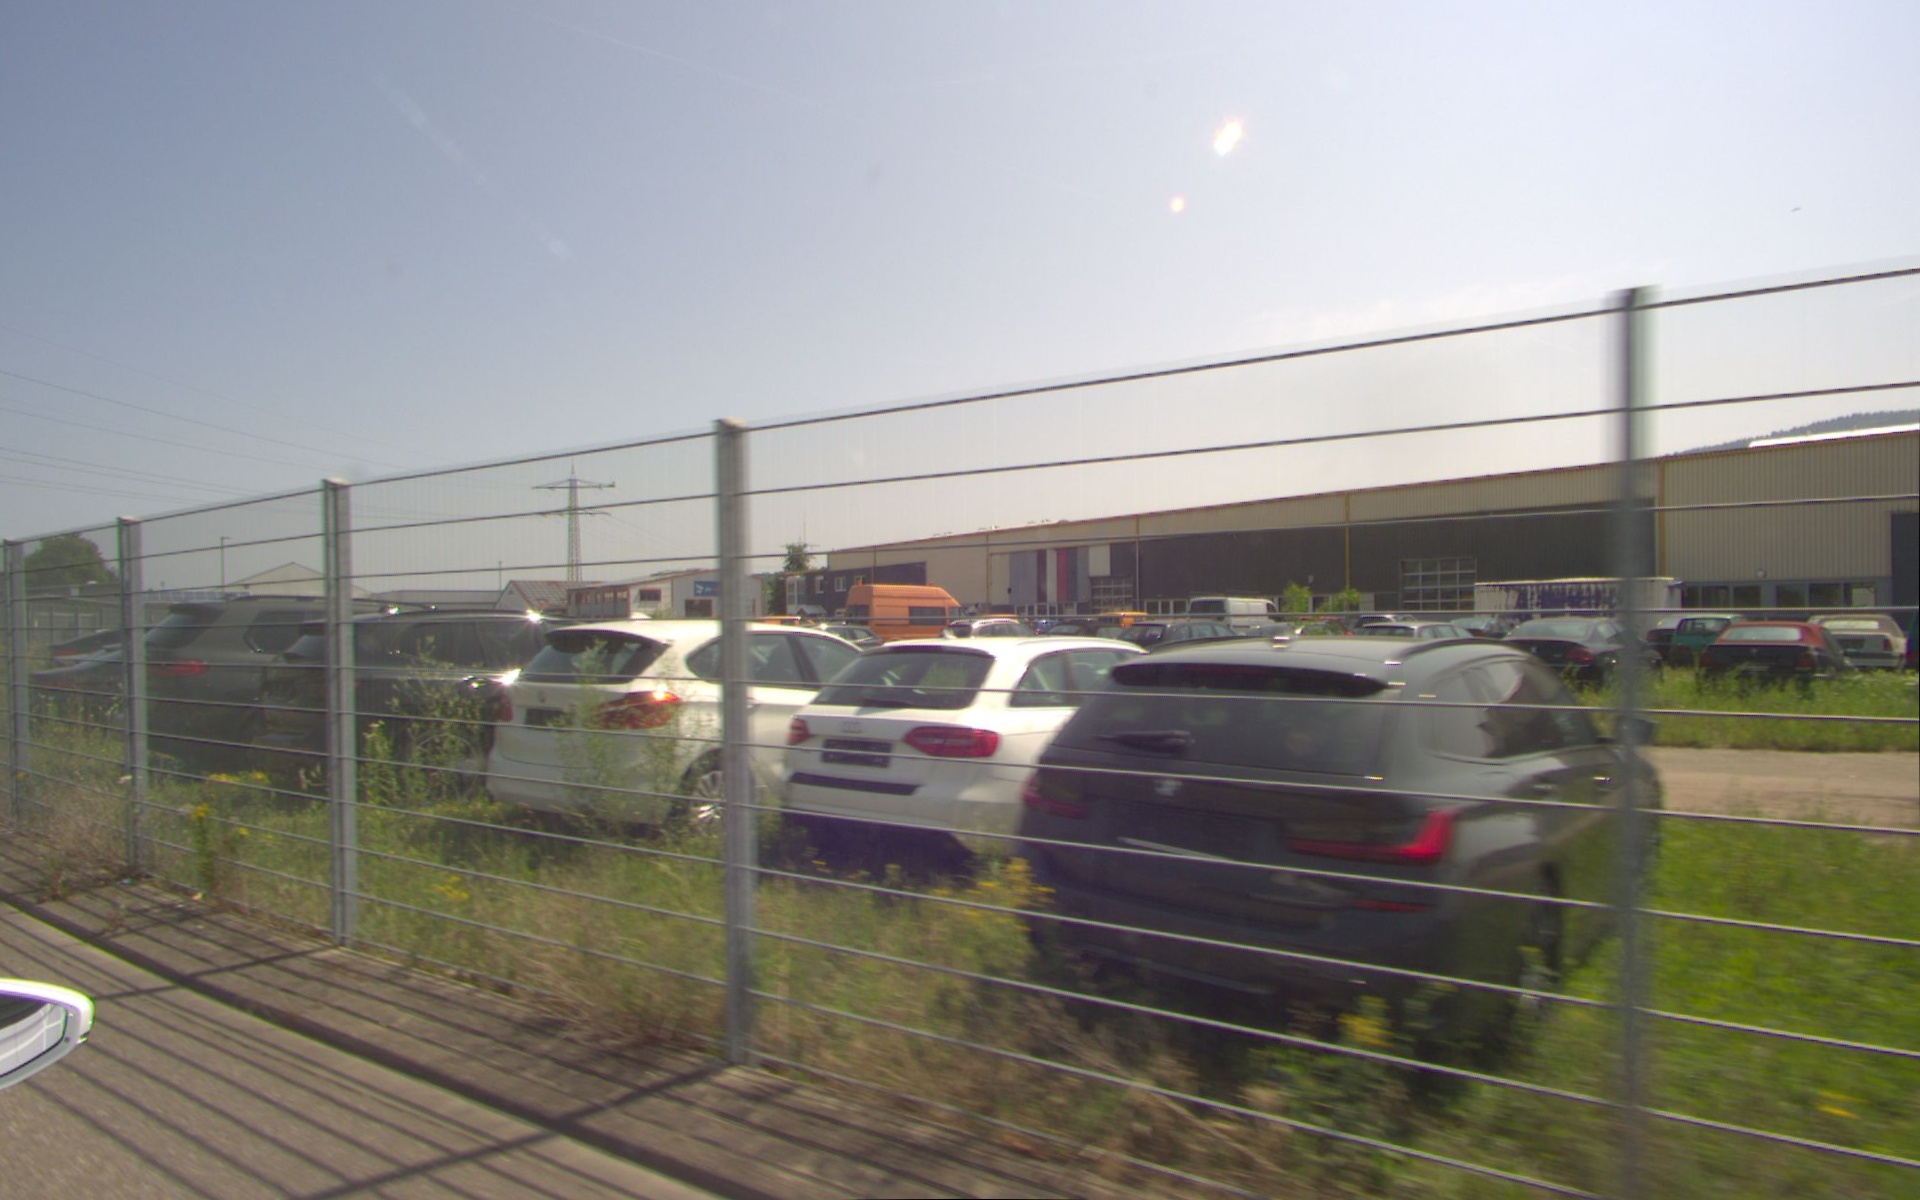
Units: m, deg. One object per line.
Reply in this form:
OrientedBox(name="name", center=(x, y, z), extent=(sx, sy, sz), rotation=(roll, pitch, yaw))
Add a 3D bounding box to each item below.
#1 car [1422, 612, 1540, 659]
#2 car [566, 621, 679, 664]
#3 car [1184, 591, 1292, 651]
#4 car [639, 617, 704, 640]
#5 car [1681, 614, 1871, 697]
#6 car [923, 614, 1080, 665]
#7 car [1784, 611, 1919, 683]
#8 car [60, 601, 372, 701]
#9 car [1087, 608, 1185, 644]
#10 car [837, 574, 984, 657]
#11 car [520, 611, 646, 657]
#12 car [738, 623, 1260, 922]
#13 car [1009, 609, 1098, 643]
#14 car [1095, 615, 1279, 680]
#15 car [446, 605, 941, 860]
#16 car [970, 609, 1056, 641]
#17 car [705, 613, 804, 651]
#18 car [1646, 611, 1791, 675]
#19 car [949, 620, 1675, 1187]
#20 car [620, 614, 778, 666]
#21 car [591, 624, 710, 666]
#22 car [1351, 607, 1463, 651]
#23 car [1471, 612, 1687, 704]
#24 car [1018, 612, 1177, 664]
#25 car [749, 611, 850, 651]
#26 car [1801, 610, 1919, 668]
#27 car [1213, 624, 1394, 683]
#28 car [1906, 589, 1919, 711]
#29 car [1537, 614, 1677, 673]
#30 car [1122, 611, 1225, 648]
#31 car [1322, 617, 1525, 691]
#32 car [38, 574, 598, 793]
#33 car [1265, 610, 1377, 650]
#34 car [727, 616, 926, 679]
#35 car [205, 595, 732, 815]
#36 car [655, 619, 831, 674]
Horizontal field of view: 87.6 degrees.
OrientedBox(name="car", center=(17.222, 1.118, 33.023), extent=(4.337, 1.396, 1.828), rotation=(-1, 0, -38))
OrientedBox(name="car", center=(-12.630, 1.544, 37.576), extent=(3.728, 1.456, 1.599), rotation=(-1, 0, -38))
OrientedBox(name="car", center=(10.835, 0.783, 38.934), extent=(4.341, 2.200, 1.957), rotation=(-1, 0, -40))
OrientedBox(name="car", center=(-24.434, 2.401, 84.850), extent=(5.014, 1.924, 1.844), rotation=(1, -1, -37))
OrientedBox(name="car", center=(13.062, 0.816, 15.985), extent=(3.335, 1.123, 1.659), rotation=(-1, 0, -38))
OrientedBox(name="car", center=(1.227, 1.066, 28.559), extent=(4.337, 1.286, 1.807), rotation=(0, 0, -38))
OrientedBox(name="car", center=(20.192, 0.981, 22.403), extent=(4.337, 1.396, 1.828), rotation=(-1, 0, -38))
OrientedBox(name="car", center=(-13.561, 0.844, 18.518), extent=(4.431, 1.603, 1.781), rotation=(-1, 0, -39))
OrientedBox(name="car", center=(7.776, 1.109, 44.171), extent=(4.341, 1.505, 1.957), rotation=(-1, 0, -40))
OrientedBox(name="car", center=(-1.633, 0.497, 33.832), extent=(4.689, 2.619, 1.965), rotation=(-1, 0, -38))
OrientedBox(name="car", center=(-15.022, 1.306, 39.948), extent=(4.416, 1.671, 1.866), rotation=(-1, 0, -33))
OrientedBox(name="car", center=(0.450, 0.861, 6.585), extent=(1.623, 1.335, 3.447), rotation=(0, 0, 42))
OrientedBox(name="car", center=(4.522, 1.229, 48.251), extent=(4.341, 1.505, 1.738), rotation=(-1, 0, -40))
OrientedBox(name="car", center=(5.359, 1.044, 23.389), extent=(4.337, 1.292, 1.864), rotation=(0, 0, -38))
OrientedBox(name="car", center=(-1.780, 0.772, 7.572), extent=(1.497, 1.436, 3.454), rotation=(0, 0, 36))
OrientedBox(name="car", center=(2.691, 1.225, 50.293), extent=(4.341, 1.505, 1.738), rotation=(-1, 0, -40))
OrientedBox(name="car", center=(-8.674, 1.323, 42.418), extent=(3.783, 1.481, 1.577), rotation=(-1, 0, -38))
OrientedBox(name="car", center=(18.860, 1.001, 24.856), extent=(4.337, 1.396, 1.828), rotation=(-1, 0, -38))
OrientedBox(name="car", center=(2.036, 0.804, 4.706), extent=(1.700, 1.335, 4.352), rotation=(0, 0, 42))
OrientedBox(name="car", center=(-8.113, 1.209, 31.383), extent=(4.521, 1.451, 1.650), rotation=(-1, 0, -38))
OrientedBox(name="car", center=(-10.910, 1.560, 35.413), extent=(3.728, 1.319, 1.599), rotation=(-1, 0, -38))
OrientedBox(name="car", center=(15.821, 0.992, 35.340), extent=(4.341, 1.404, 1.957), rotation=(0, 0, -40))
OrientedBox(name="car", center=(10.875, 0.919, 17.496), extent=(4.337, 1.363, 1.828), rotation=(-1, 0, -38))
OrientedBox(name="car", center=(3.644, 0.929, 26.114), extent=(4.337, 1.199, 1.565), rotation=(0, 0, -38))
OrientedBox(name="car", center=(-6.503, 1.219, 40.708), extent=(3.783, 1.481, 1.577), rotation=(-1, 0, -38))
OrientedBox(name="car", center=(24.247, 0.986, 26.770), extent=(4.337, 1.383, 1.828), rotation=(-1, 0, -38))
OrientedBox(name="car", center=(7.471, 1.102, 21.610), extent=(4.337, 1.046, 1.606), rotation=(0, 0, -38))
OrientedBox(name="car", center=(17.908, 0.798, 17.174), extent=(4.337, 2.008, 1.828), rotation=(-1, 0, -38))
OrientedBox(name="car", center=(17.375, 1.111, 26.820), extent=(4.337, 1.396, 1.828), rotation=(-1, 0, -38))
OrientedBox(name="car", center=(8.884, 1.201, 41.484), extent=(4.337, 1.396, 1.828), rotation=(-1, 0, -38))
OrientedBox(name="car", center=(9.101, 0.976, 19.539), extent=(4.337, 1.222, 1.828), rotation=(0, 0, -38))
OrientedBox(name="car", center=(-6.401, 0.681, 10.551), extent=(1.721, 1.792, 4.666), rotation=(0, 0, 39))
OrientedBox(name="car", center=(13.170, 1.056, 36.468), extent=(4.341, 1.340, 1.957), rotation=(0, 0, -40))
OrientedBox(name="car", center=(-3.280, 1.114, 25.182), extent=(4.703, 1.370, 1.807), rotation=(0, 0, -38))
OrientedBox(name="car", center=(-4.406, 0.779, 9.643), extent=(1.670, 1.624, 4.281), rotation=(0, 0, 35))
OrientedBox(name="car", center=(-6.258, 1.297, 29.142), extent=(4.703, 1.370, 1.807), rotation=(0, 0, -38))
